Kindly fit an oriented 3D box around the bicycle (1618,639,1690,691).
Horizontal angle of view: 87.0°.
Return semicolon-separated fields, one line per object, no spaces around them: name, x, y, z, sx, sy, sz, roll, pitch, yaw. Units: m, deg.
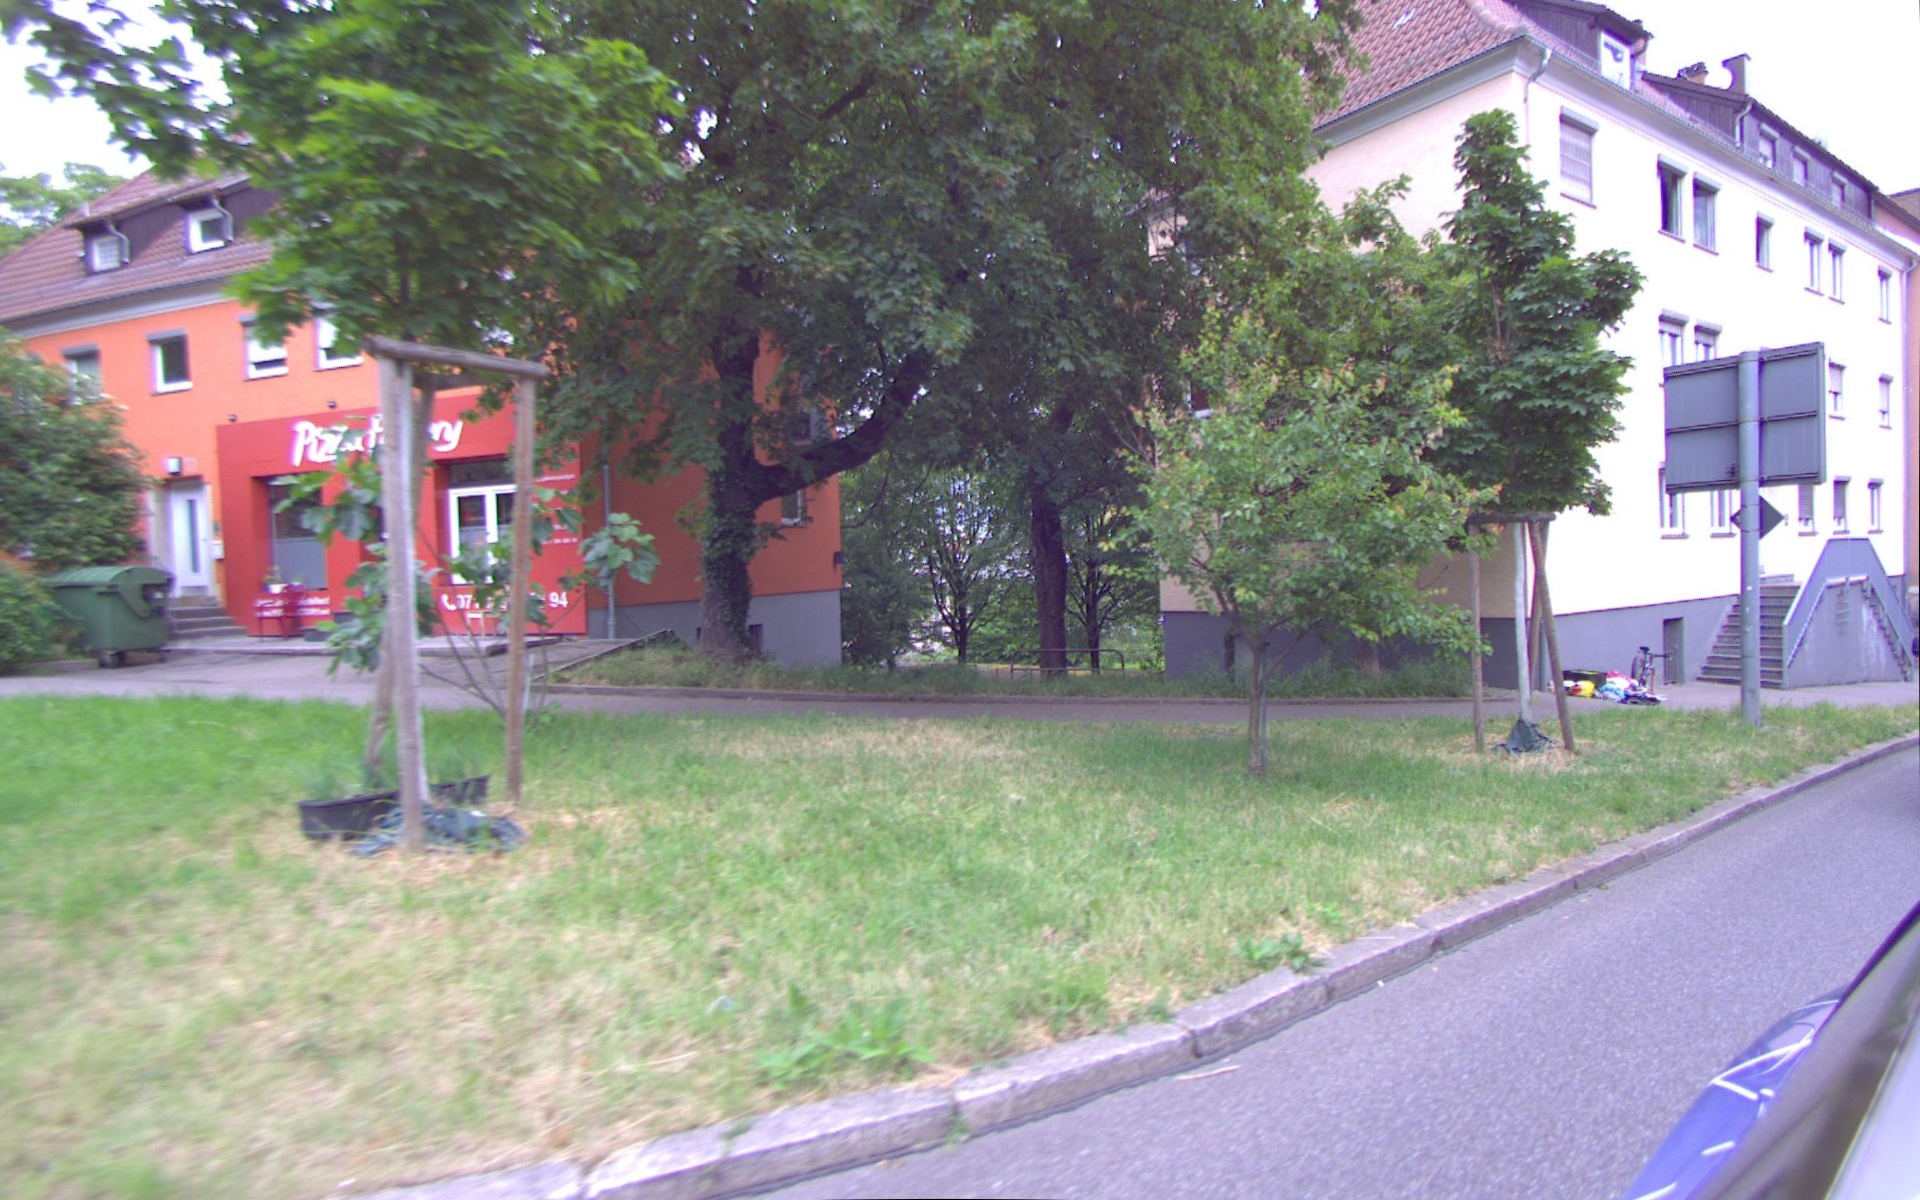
bicycle;11.497;1.061;16.753;1.528;0.782;0.490;0;0;-35

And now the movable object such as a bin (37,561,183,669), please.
movable object such as a bin;-12.306;0.177;14.684;1.068;1.468;1.236;1;2;18
